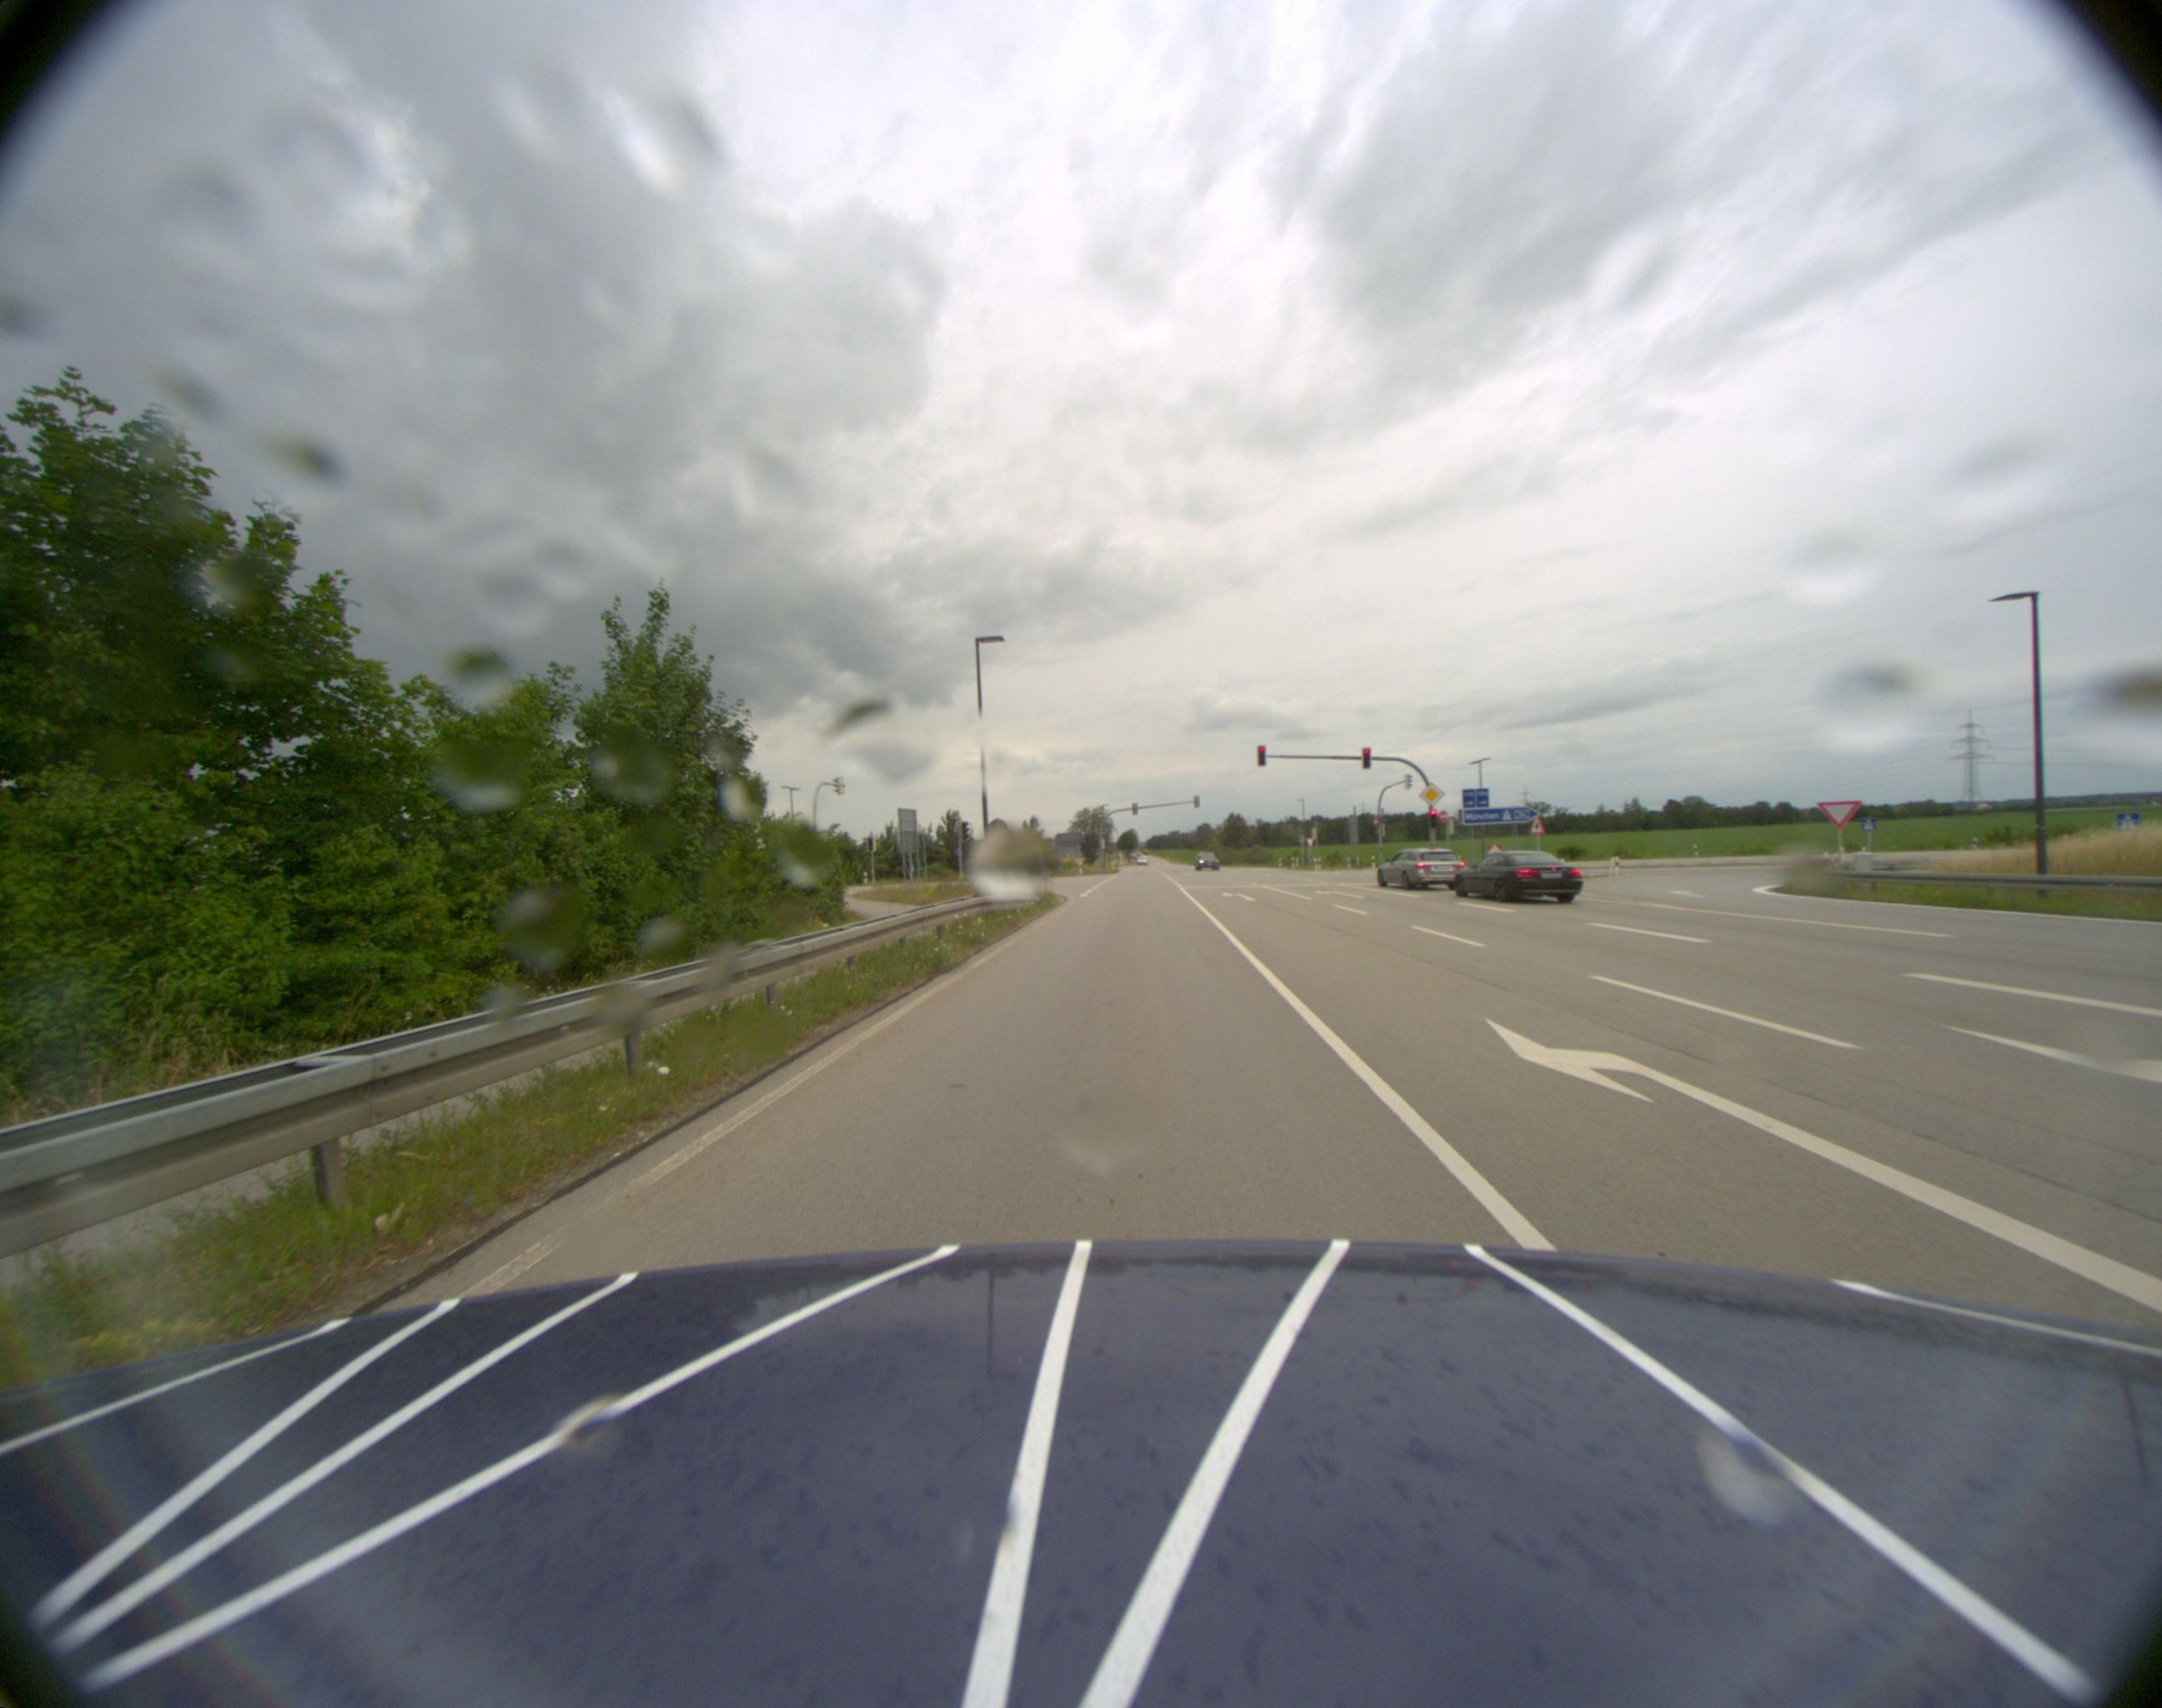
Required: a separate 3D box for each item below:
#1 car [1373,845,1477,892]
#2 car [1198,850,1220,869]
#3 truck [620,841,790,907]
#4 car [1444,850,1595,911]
[{"bbox_3d":[12.588,0.491,28.210,1.919,1.601,4.950,0,0,4],"label":"car"},{"bbox_3d":[12.681,0.527,75.311,1.997,1.674,5.002,-2,0,9],"label":"car"},{"bbox_3d":[-22.669,1.170,46.135,8.644,3.388,2.878,-3,1,0],"label":"truck"},{"bbox_3d":[11.915,0.644,21.035,1.711,1.402,4.675,-2,1,4],"label":"car"}]
